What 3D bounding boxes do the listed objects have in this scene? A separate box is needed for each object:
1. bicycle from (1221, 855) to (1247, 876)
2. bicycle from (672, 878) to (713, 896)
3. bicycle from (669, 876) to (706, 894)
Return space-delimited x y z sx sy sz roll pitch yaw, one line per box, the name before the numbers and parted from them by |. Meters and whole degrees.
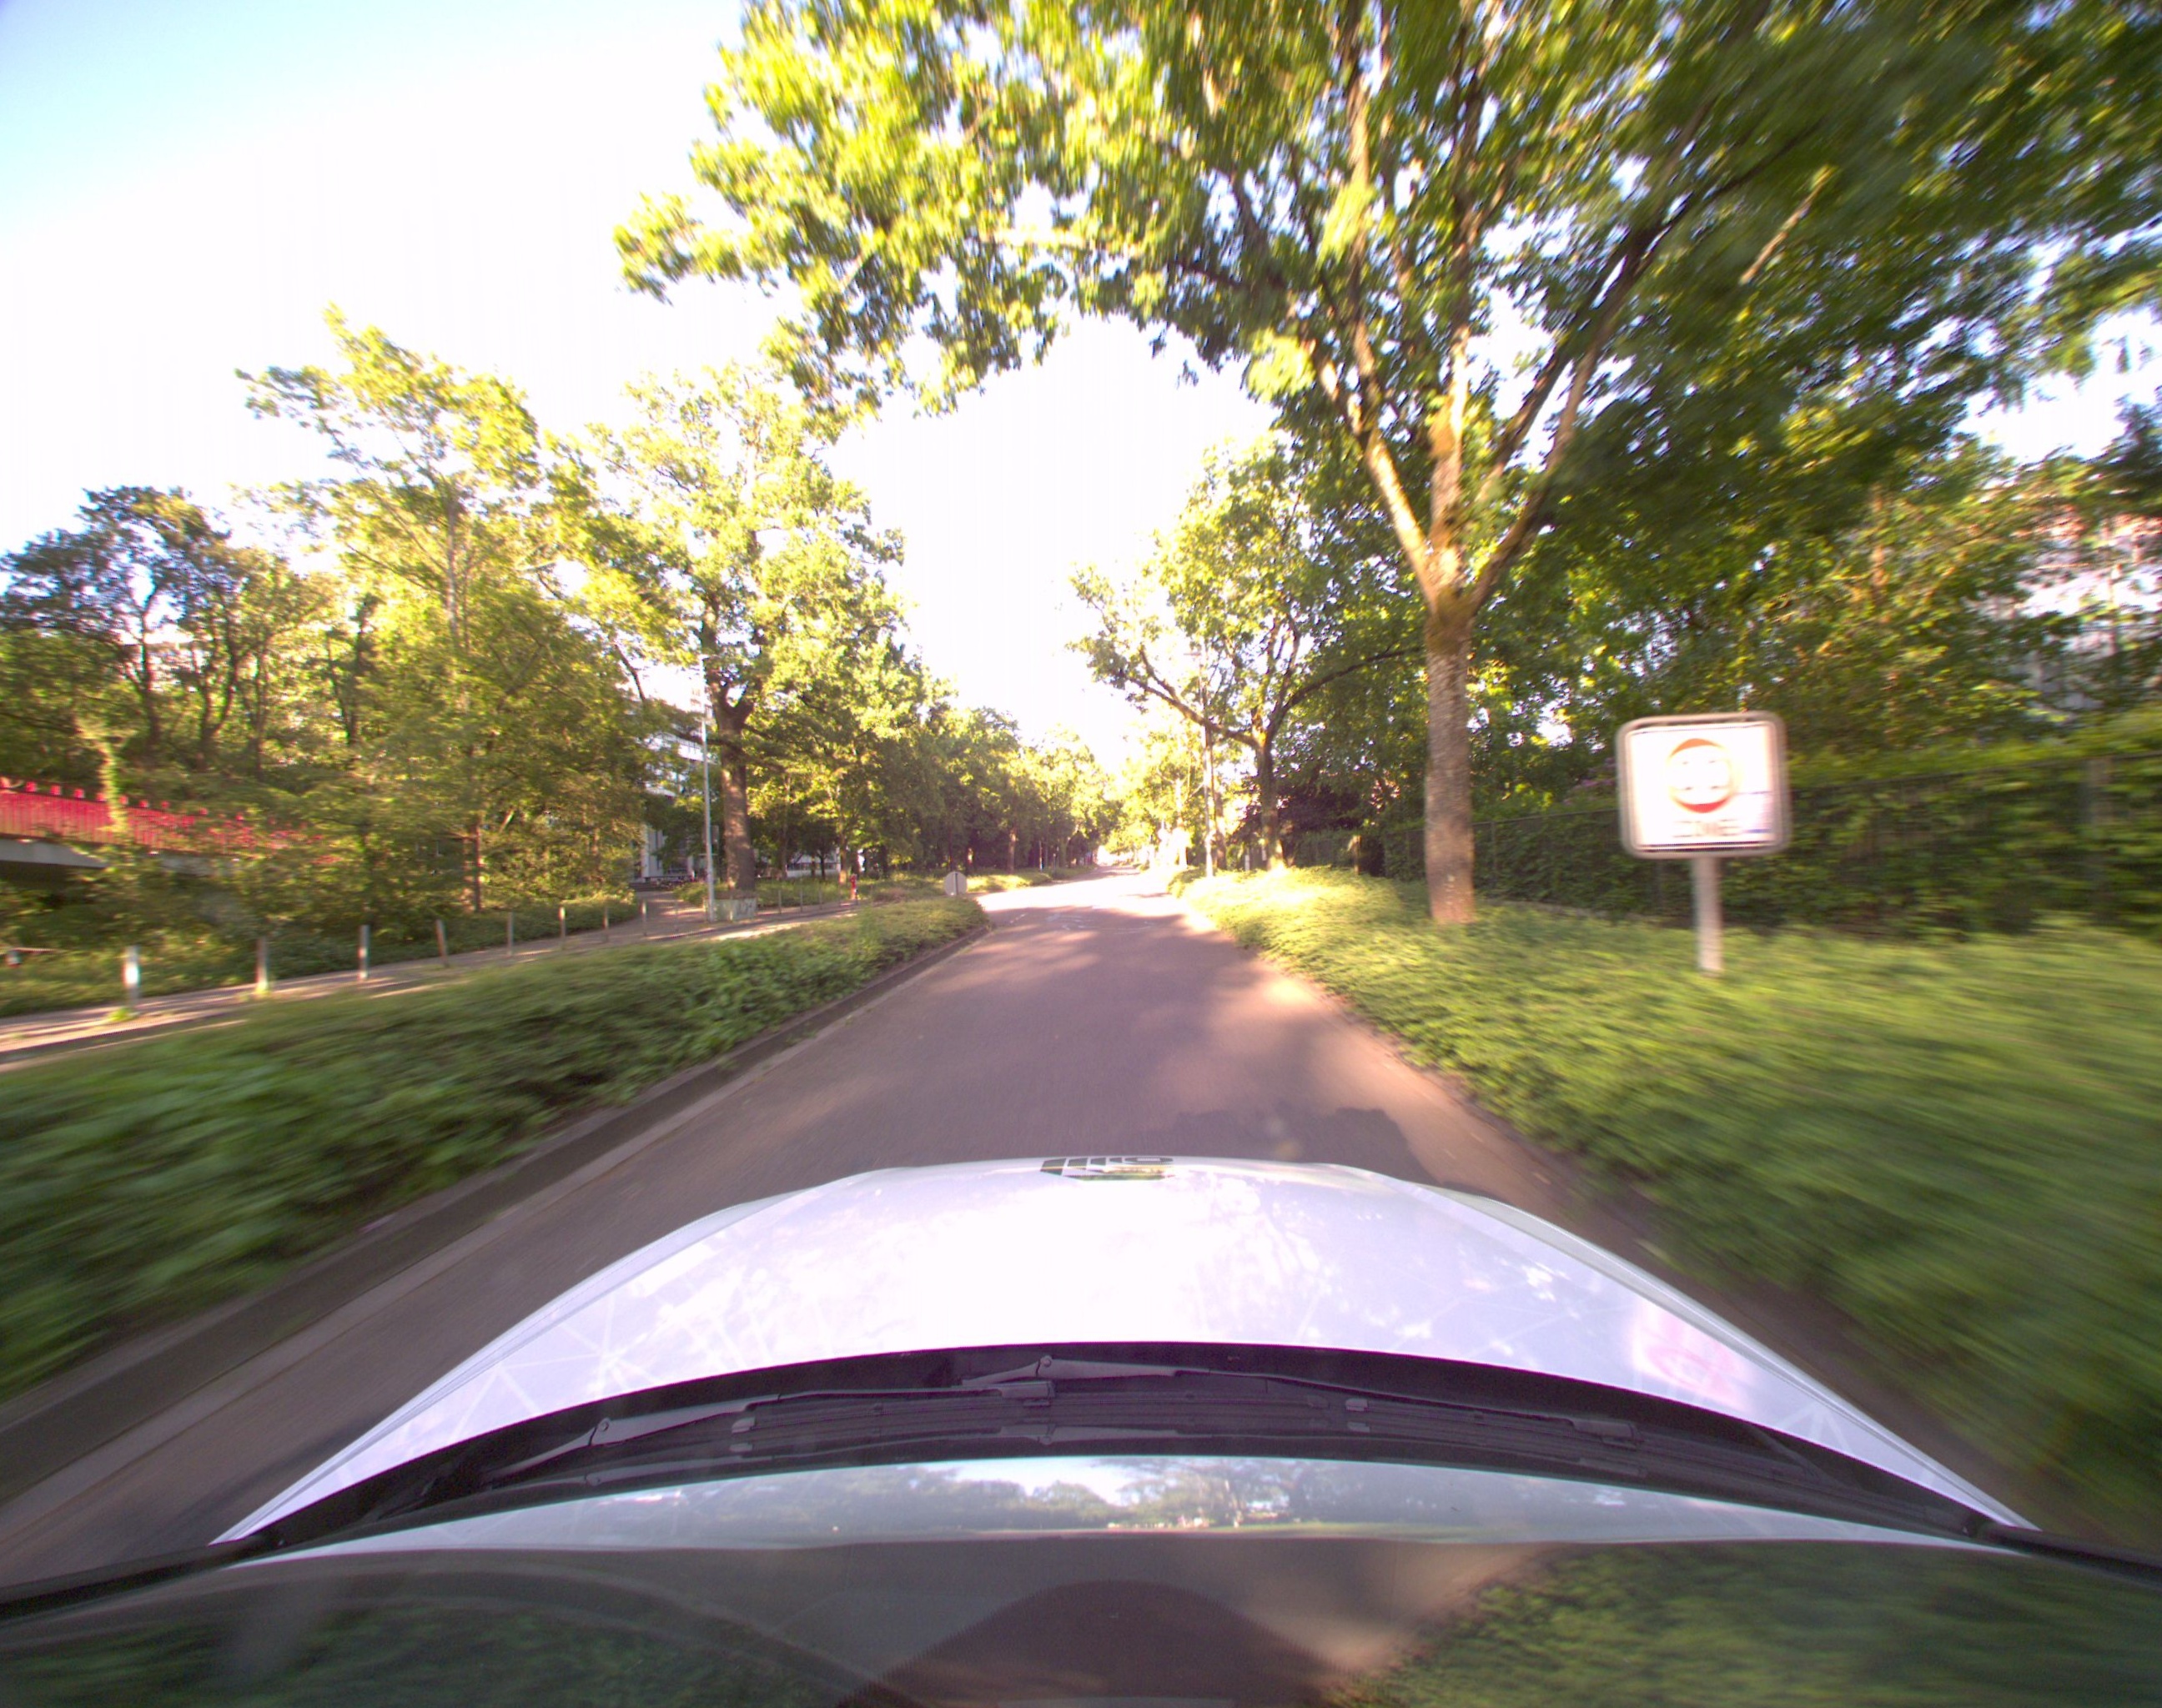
bicycle | 9.686 0.718 51.529 0.875 1.200 2.340 -5 -1 27
bicycle | -26.049 2.185 54.659 0.530 1.071 2.444 1 2 41
bicycle | -26.968 2.125 55.909 0.531 1.071 2.648 2 1 20
